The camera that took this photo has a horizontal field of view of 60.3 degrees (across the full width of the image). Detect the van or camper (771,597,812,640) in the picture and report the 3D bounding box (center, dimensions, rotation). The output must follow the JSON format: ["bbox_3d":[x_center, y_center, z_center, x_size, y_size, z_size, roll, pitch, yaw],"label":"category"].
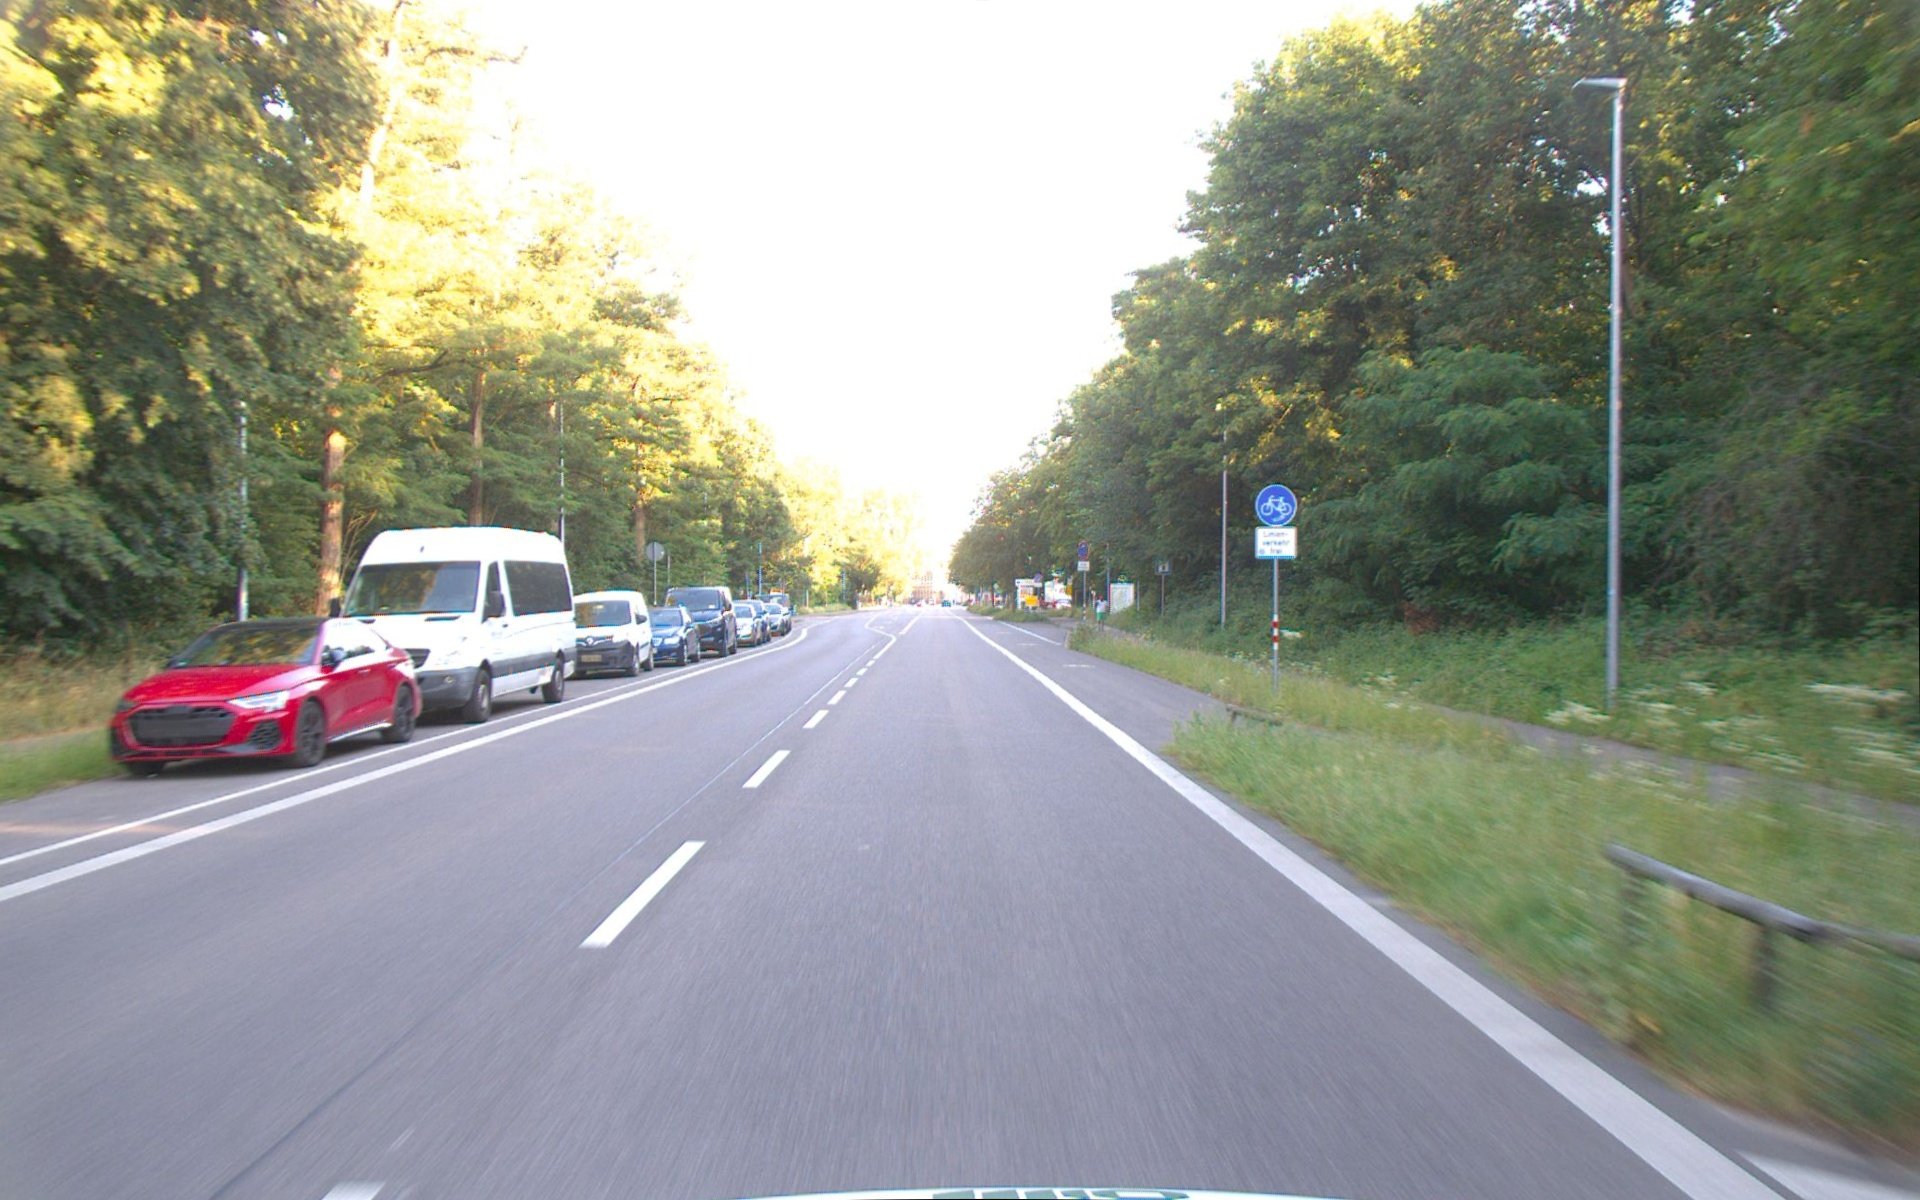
[{"bbox_3d":[-8.964,0.976,88.125,1.992,2.130,5.009,-2,0,-5],"label":"van or camper"}]

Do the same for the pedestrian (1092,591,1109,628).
[{"bbox_3d":[6.972,0.473,82.032,0.821,1.782,0.726,0,0,0],"label":"pedestrian"}]

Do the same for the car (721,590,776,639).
[{"bbox_3d":[-8.046,0.530,63.222,1.710,1.742,4.520,-2,0,-3],"label":"car"}]

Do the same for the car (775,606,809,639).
[{"bbox_3d":[-8.265,1.084,81.189,1.513,1.519,3.966,-2,0,-7],"label":"car"}]

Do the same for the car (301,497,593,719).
[{"bbox_3d":[-7.146,0.099,24.057,2.037,2.652,7.087,-3,0,-1],"label":"car"}]

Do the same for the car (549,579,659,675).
[{"bbox_3d":[-7.712,0.545,36.216,1.654,1.890,4.384,-3,0,-4],"label":"car"}]

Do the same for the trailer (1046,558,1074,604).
[{"bbox_3d":[12.243,-2.248,202.060,2.958,5.557,7.934,0,0,0],"label":"trailer"}]

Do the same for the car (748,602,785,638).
[{"bbox_3d":[-8.889,0.921,76.265,1.585,1.561,4.035,-2,0,-6],"label":"car"}]

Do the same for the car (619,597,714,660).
[{"bbox_3d":[-7.316,0.673,41.583,1.636,1.458,4.446,-2,0,-1],"label":"car"}]

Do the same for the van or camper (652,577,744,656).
[{"bbox_3d":[-7.511,0.444,47.852,1.962,2.053,5.458,-3,0,-3],"label":"van or camper"}]

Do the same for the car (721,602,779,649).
[{"bbox_3d":[-7.314,0.861,57.797,1.635,1.527,4.244,-2,0,-3],"label":"car"}]

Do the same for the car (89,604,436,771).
[{"bbox_3d":[-6.974,0.789,17.079,1.681,1.455,4.387,-1,0,0],"label":"car"}]

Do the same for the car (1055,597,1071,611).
[{"bbox_3d":[11.776,0.488,189.350,1.733,1.611,4.820,1,0,3],"label":"car"}]
